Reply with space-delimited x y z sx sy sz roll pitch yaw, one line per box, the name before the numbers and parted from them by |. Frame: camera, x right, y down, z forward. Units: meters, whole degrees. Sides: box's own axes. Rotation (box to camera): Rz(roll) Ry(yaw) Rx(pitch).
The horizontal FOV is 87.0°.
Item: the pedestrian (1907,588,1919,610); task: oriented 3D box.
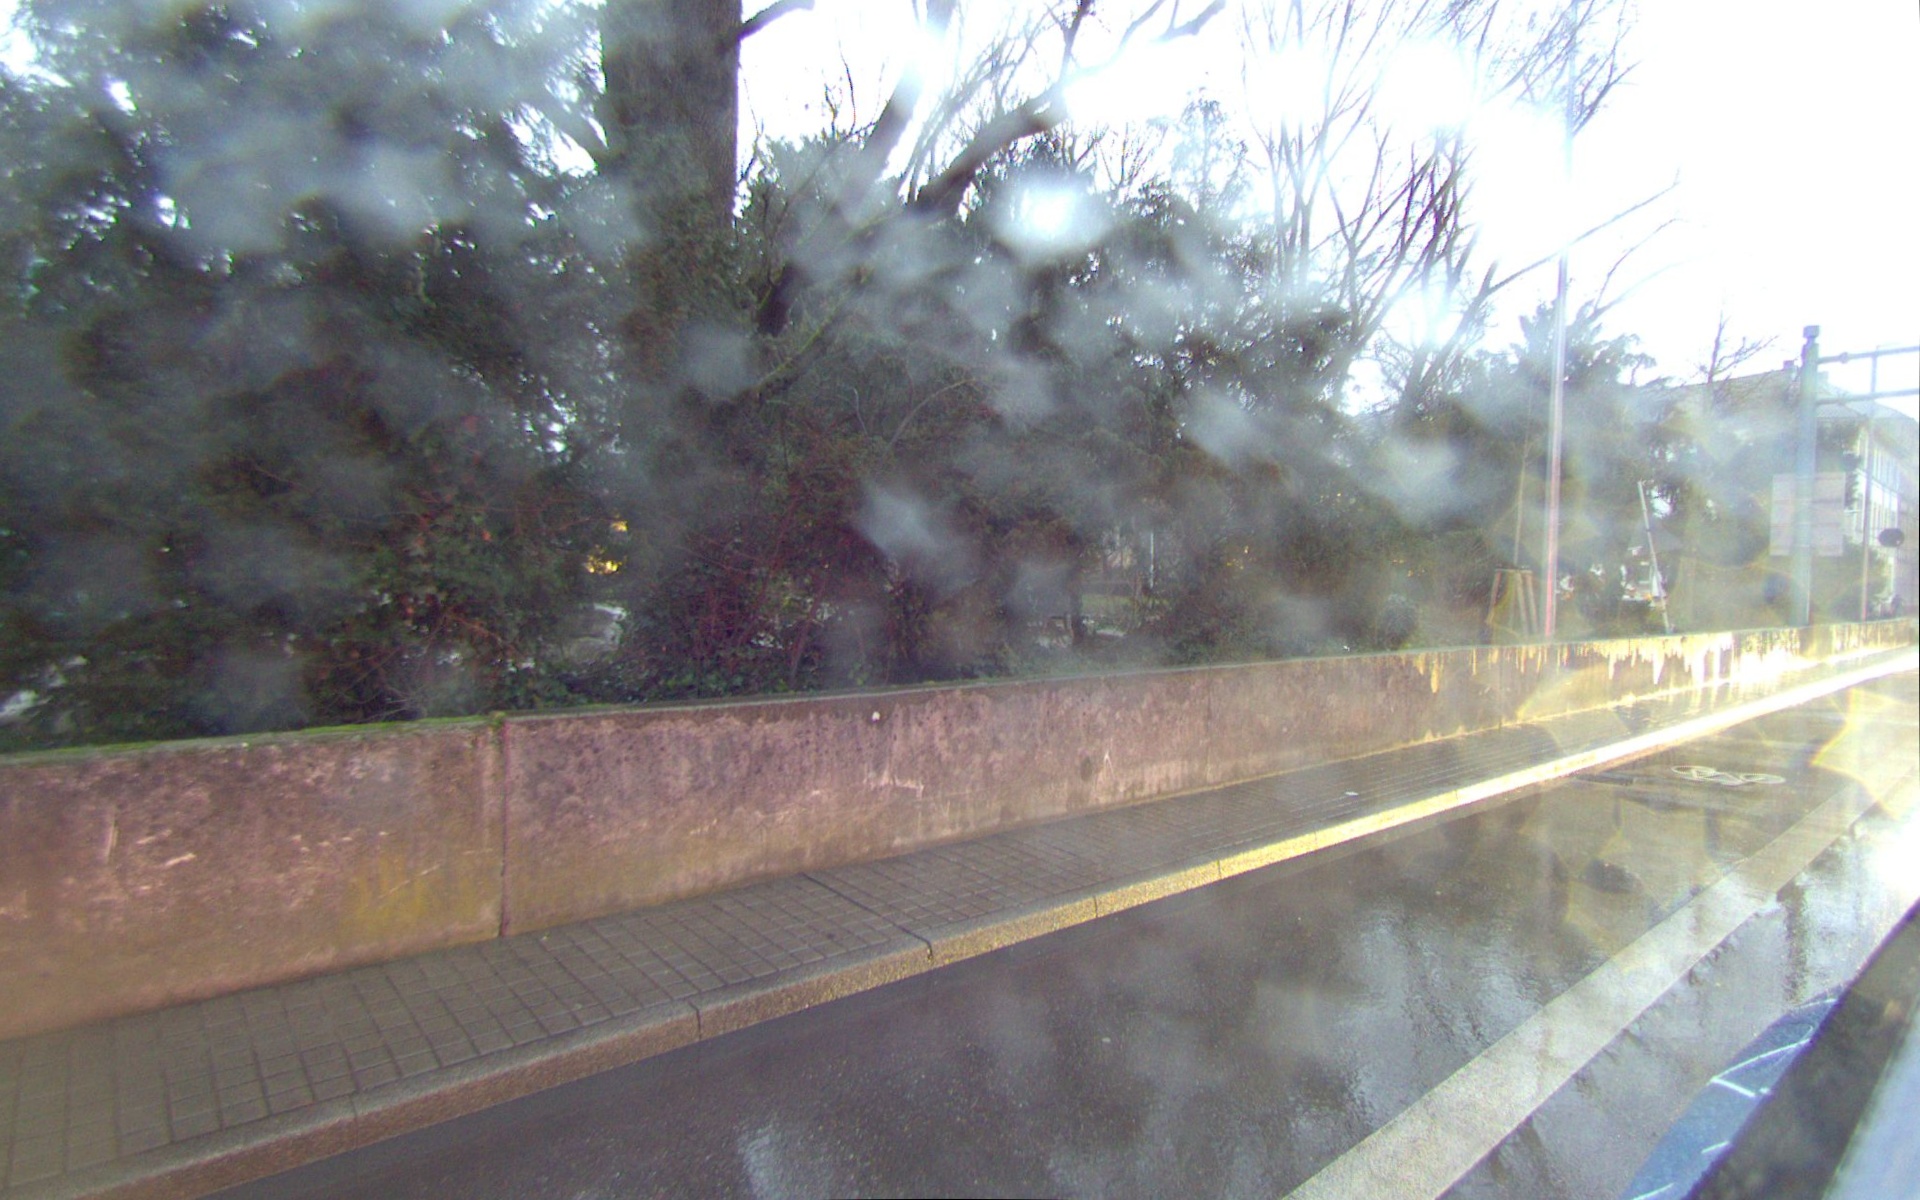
pedestrian | 67.662 -0.069 71.820 0.577 1.529 0.520 1 2 -41
